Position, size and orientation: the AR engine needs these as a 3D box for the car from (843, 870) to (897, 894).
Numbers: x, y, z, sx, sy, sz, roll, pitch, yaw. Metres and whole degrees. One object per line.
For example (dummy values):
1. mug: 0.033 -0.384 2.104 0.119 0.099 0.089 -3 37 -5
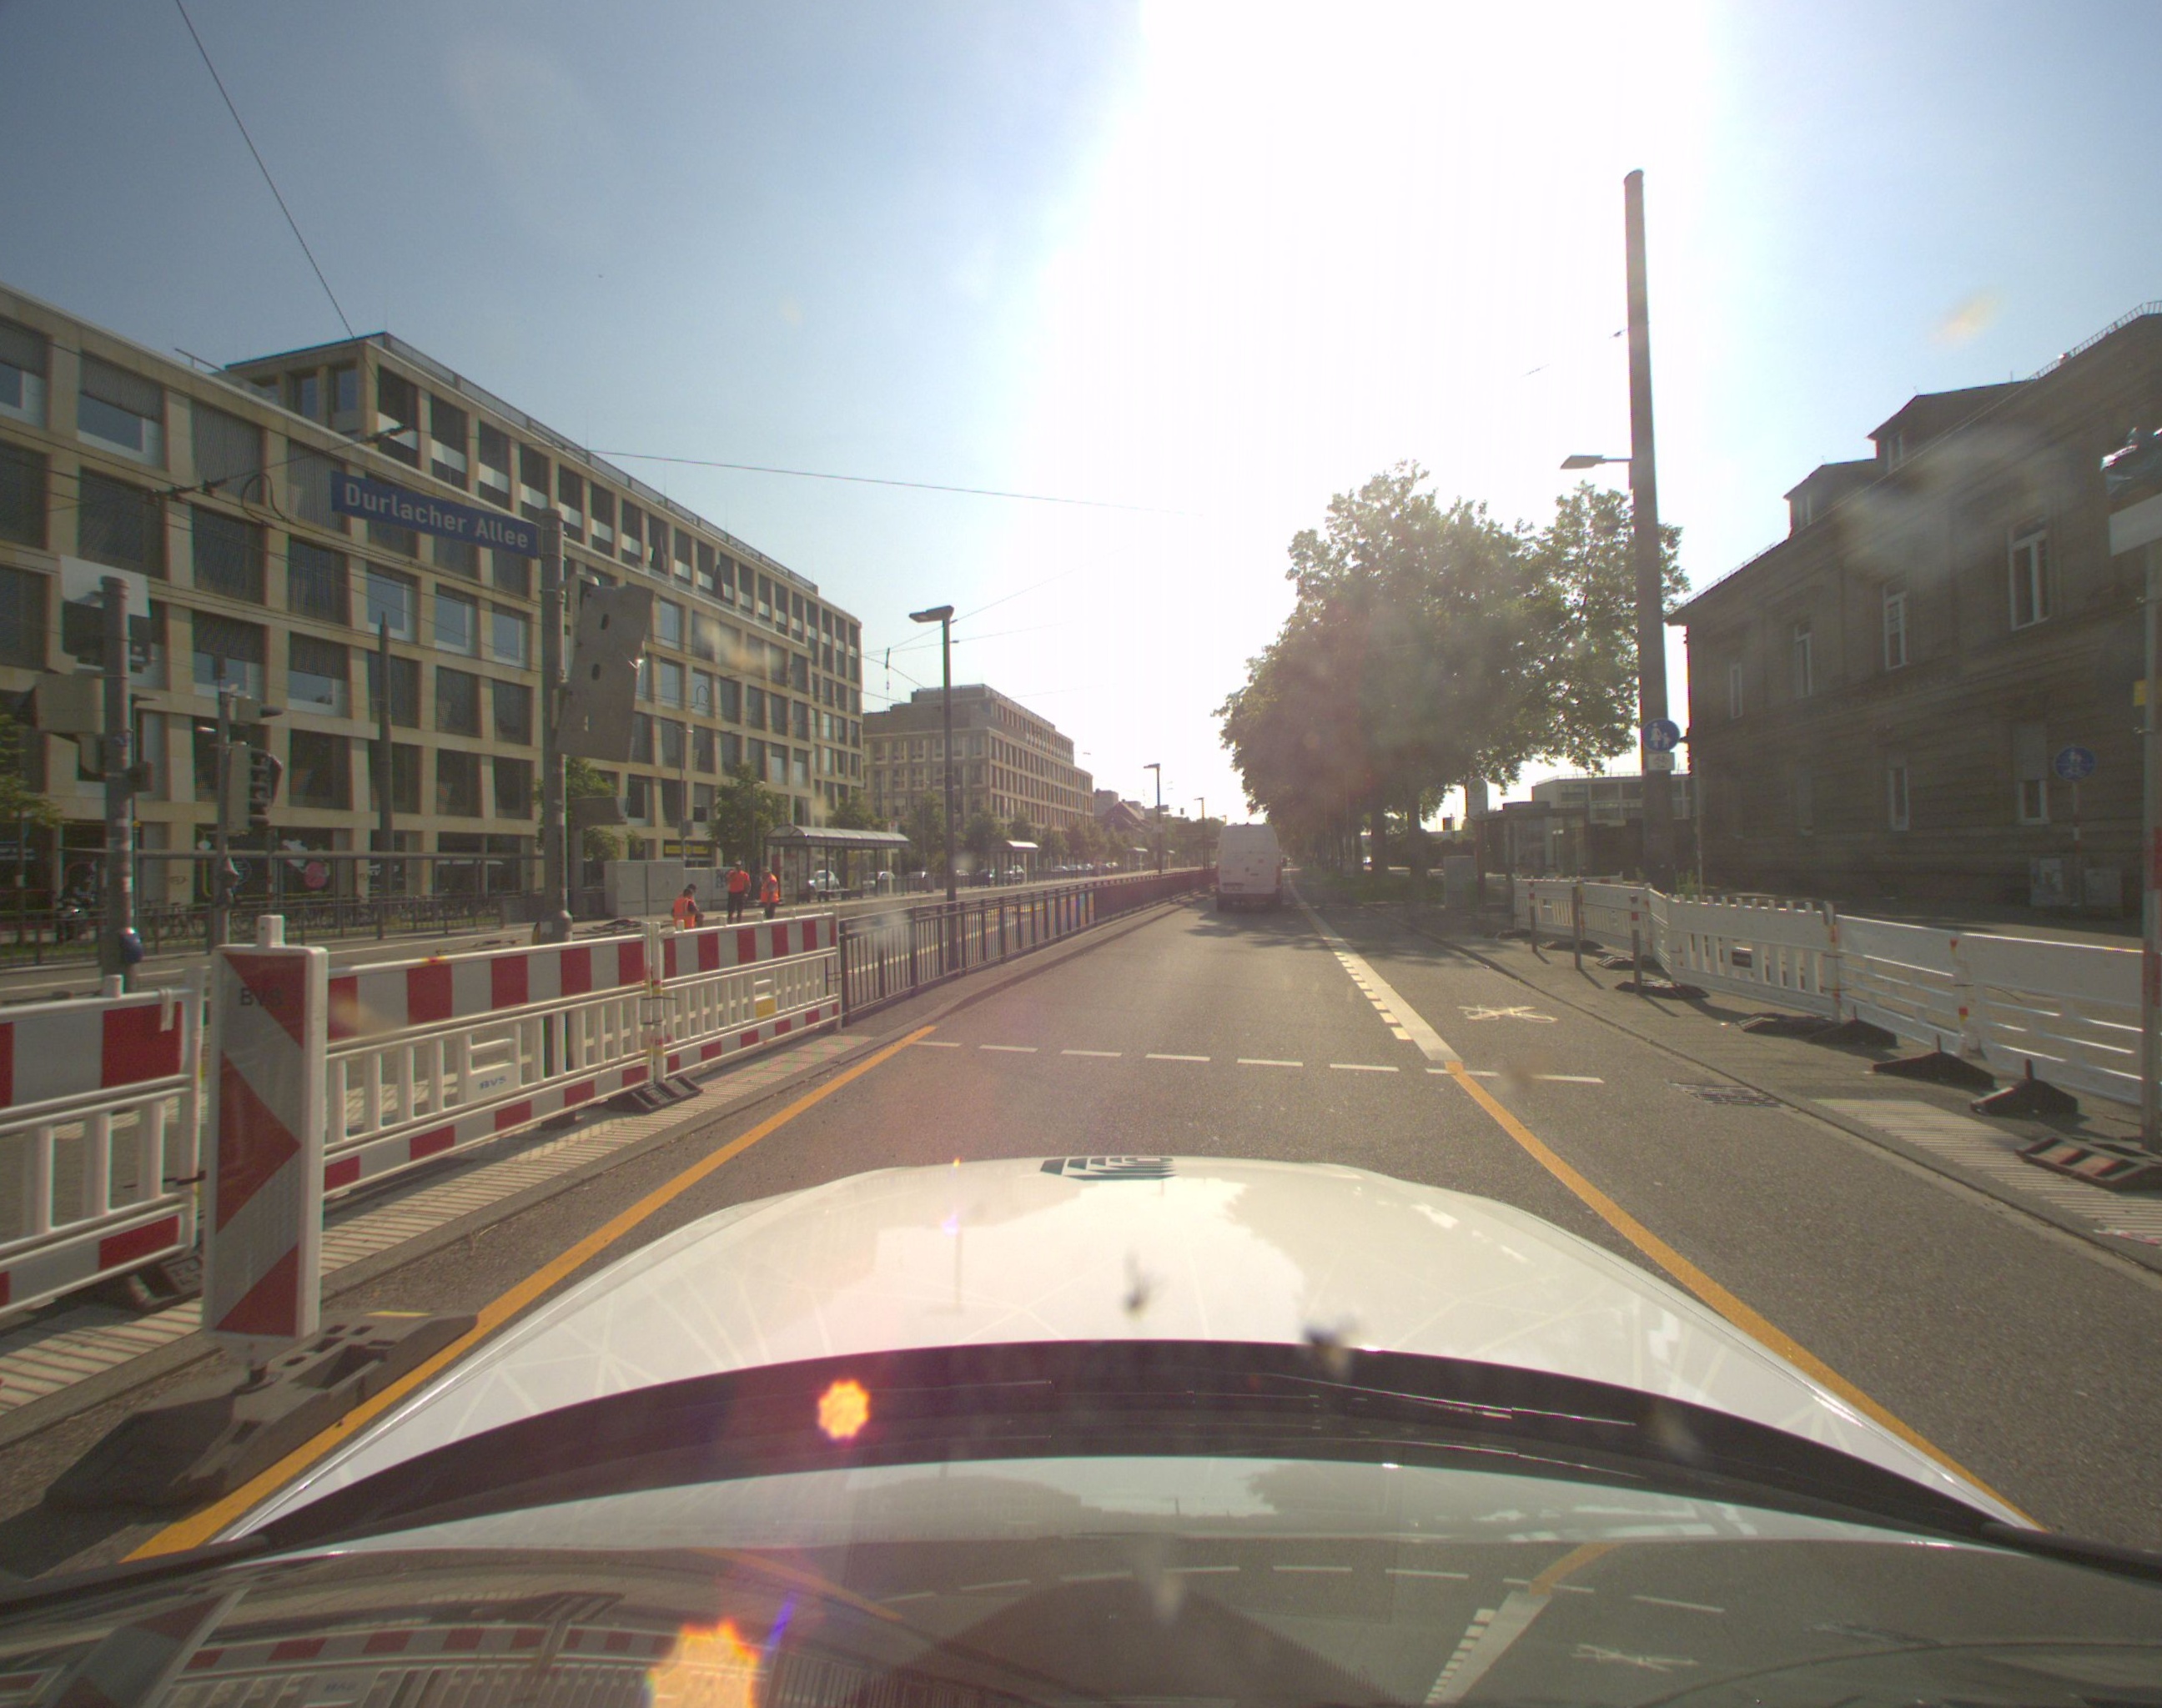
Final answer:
1. car: -13.764 1.820 53.421 1.672 1.407 4.097 -2 -1 13

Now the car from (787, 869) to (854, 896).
1. car: -15.124 1.659 47.545 1.672 1.407 4.388 -2 -1 13

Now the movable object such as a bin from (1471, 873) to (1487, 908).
1. movable object such as a bin: 10.541 0.963 21.572 0.269 0.915 0.387 -2 -1 12

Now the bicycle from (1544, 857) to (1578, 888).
1. bicycle: 17.815 0.672 30.269 0.488 1.089 1.863 -1 -1 11

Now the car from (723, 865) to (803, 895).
1. car: -16.423 1.335 42.311 1.888 1.403 4.014 -2 -1 13

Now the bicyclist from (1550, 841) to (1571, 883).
1. bicyclist: 17.799 0.287 30.228 0.466 1.539 0.598 -1 -1 11

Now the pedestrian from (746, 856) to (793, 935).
1. pedestrian: -7.920 1.048 20.706 0.716 1.951 0.793 -2 -1 28

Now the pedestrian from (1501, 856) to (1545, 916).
1. pedestrian: 10.294 0.737 18.985 0.745 1.366 0.613 0 -2 13

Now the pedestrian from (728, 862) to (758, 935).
1. pedestrian: -8.661 1.117 20.871 0.626 1.816 0.637 -1 -1 -19

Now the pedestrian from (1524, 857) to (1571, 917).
1. pedestrian: 10.034 0.699 17.542 0.735 1.261 0.613 0 -2 13

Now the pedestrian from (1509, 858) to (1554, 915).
1. pedestrian: 10.130 0.720 18.335 0.735 1.261 0.613 0 -2 13

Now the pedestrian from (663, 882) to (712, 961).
1. pedestrian: -8.682 1.471 17.972 0.776 1.663 0.660 -1 -1 -43

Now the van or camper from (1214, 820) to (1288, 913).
1. van or camper: 5.485 0.386 26.370 2.102 2.682 5.266 0 -1 11

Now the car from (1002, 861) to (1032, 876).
1. car: -6.257 1.373 79.787 1.672 1.407 4.386 -2 -1 13

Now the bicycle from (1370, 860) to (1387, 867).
1. bicycle: 40.784 1.328 111.534 2.164 0.847 0.505 -2 -1 14

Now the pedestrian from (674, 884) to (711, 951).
1. pedestrian: -9.319 1.506 19.528 0.639 1.554 0.623 -1 -1 -13
